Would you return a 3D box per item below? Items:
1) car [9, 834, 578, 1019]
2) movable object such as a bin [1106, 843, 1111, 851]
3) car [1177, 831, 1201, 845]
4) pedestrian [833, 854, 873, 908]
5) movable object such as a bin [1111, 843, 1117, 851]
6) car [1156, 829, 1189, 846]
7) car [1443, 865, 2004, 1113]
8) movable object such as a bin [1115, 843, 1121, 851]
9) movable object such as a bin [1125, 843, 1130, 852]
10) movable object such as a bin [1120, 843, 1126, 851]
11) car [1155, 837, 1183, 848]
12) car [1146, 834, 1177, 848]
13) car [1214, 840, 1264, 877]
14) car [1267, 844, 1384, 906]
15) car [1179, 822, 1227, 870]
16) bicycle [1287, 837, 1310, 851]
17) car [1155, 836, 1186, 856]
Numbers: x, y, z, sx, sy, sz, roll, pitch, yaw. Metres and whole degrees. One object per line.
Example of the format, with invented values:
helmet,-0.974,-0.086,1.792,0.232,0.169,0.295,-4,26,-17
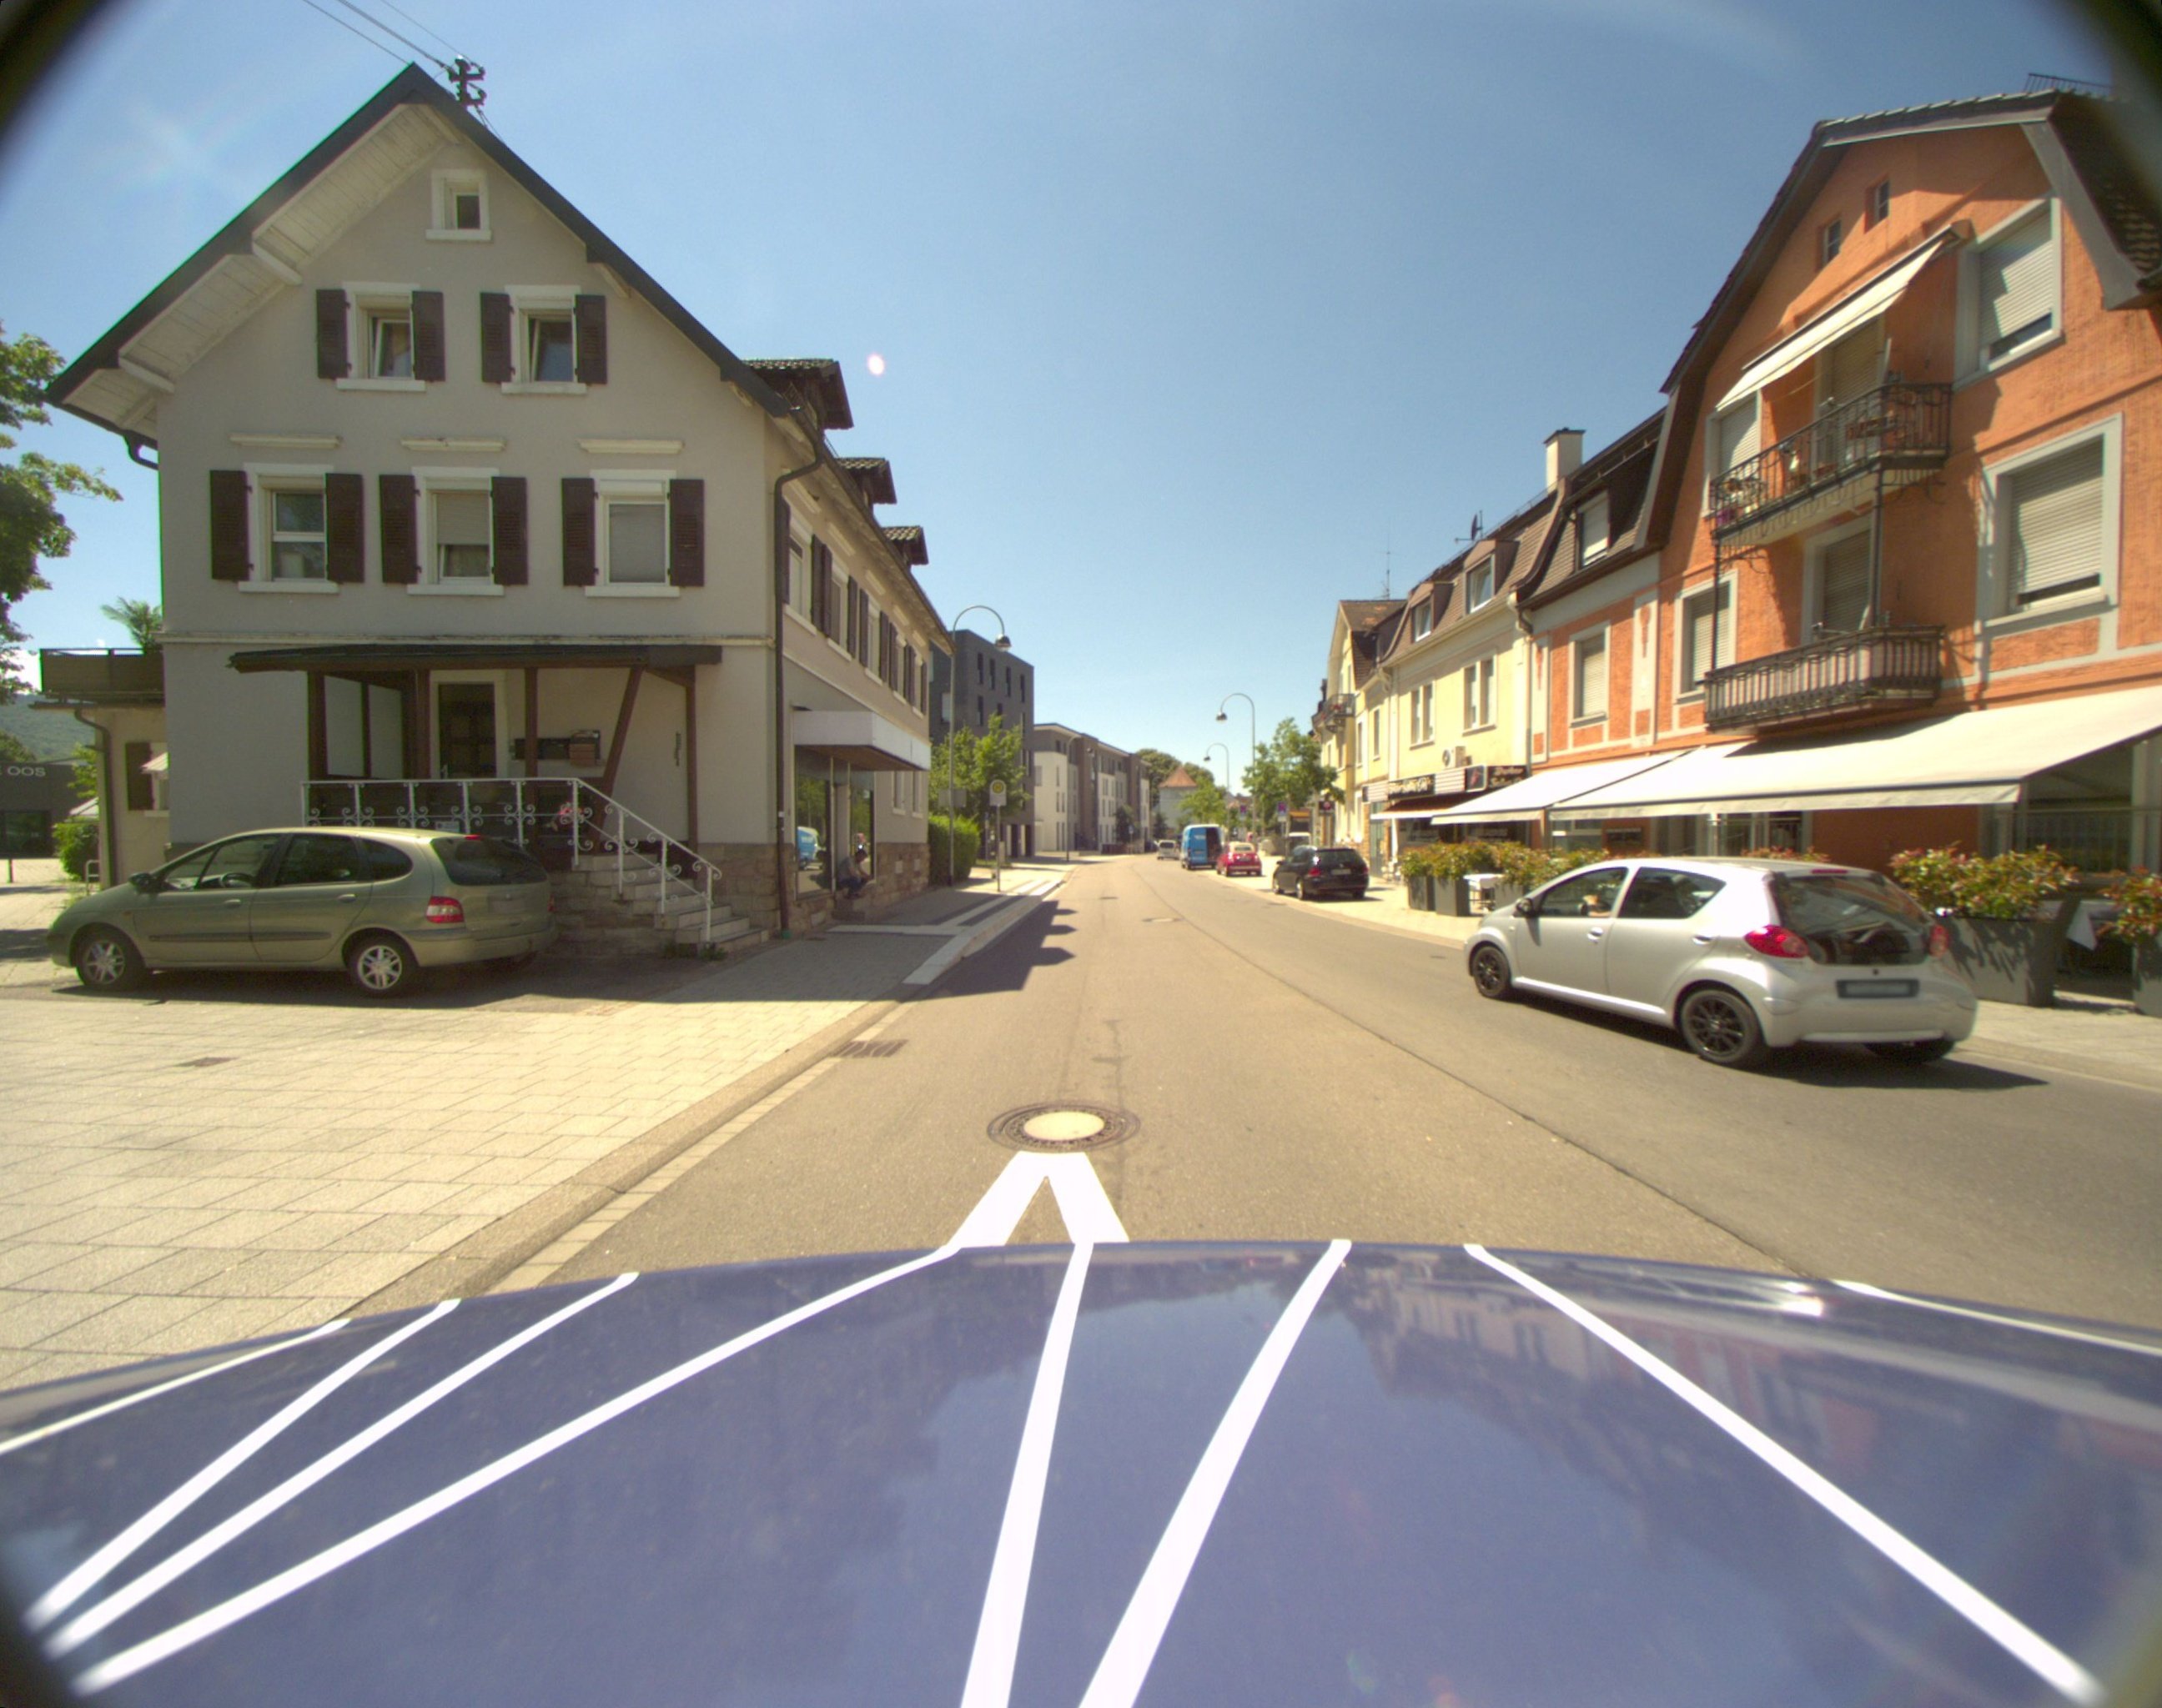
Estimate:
car,-7.843,0.647,7.878,4.071,1.586,1.802,2,1,1
movable object such as a bin,3.098,-0.806,85.388,0.473,0.925,0.529,2,3,18
car,11.948,-1.741,83.773,1.917,1.418,3.985,0,1,18
pedestrian,-4.407,0.508,14.718,0.592,0.994,0.723,1,1,-5
movable object such as a bin,3.672,-0.793,85.233,0.473,0.925,0.529,2,3,18
car,14.614,-2.653,121.425,4.860,2.721,1.853,1,2,19
car,4.881,0.864,6.482,1.580,1.442,3.467,1,1,-8
movable object such as a bin,4.159,-0.780,85.090,0.473,0.925,0.529,2,3,18
movable object such as a bin,5.180,-0.751,84.752,0.473,0.925,0.529,2,3,18
movable object such as a bin,4.665,-0.765,84.921,0.473,0.925,0.529,2,3,18
car,12.424,-1.678,107.013,3.815,1.454,1.652,-1,2,9
car,10.864,-1.765,102.033,3.812,1.776,1.842,1,2,16
car,7.187,0.181,34.867,1.563,1.512,3.514,-1,2,0
car,6.804,0.512,21.692,1.920,1.473,4.336,-3,1,0
car,6.910,-0.487,43.549,2.097,2.484,5.503,-2,1,3
bicycle,19.514,-0.894,68.173,1.769,1.227,0.616,-3,1,2
car,8.296,-0.758,70.231,1.996,1.812,4.421,1,1,17
